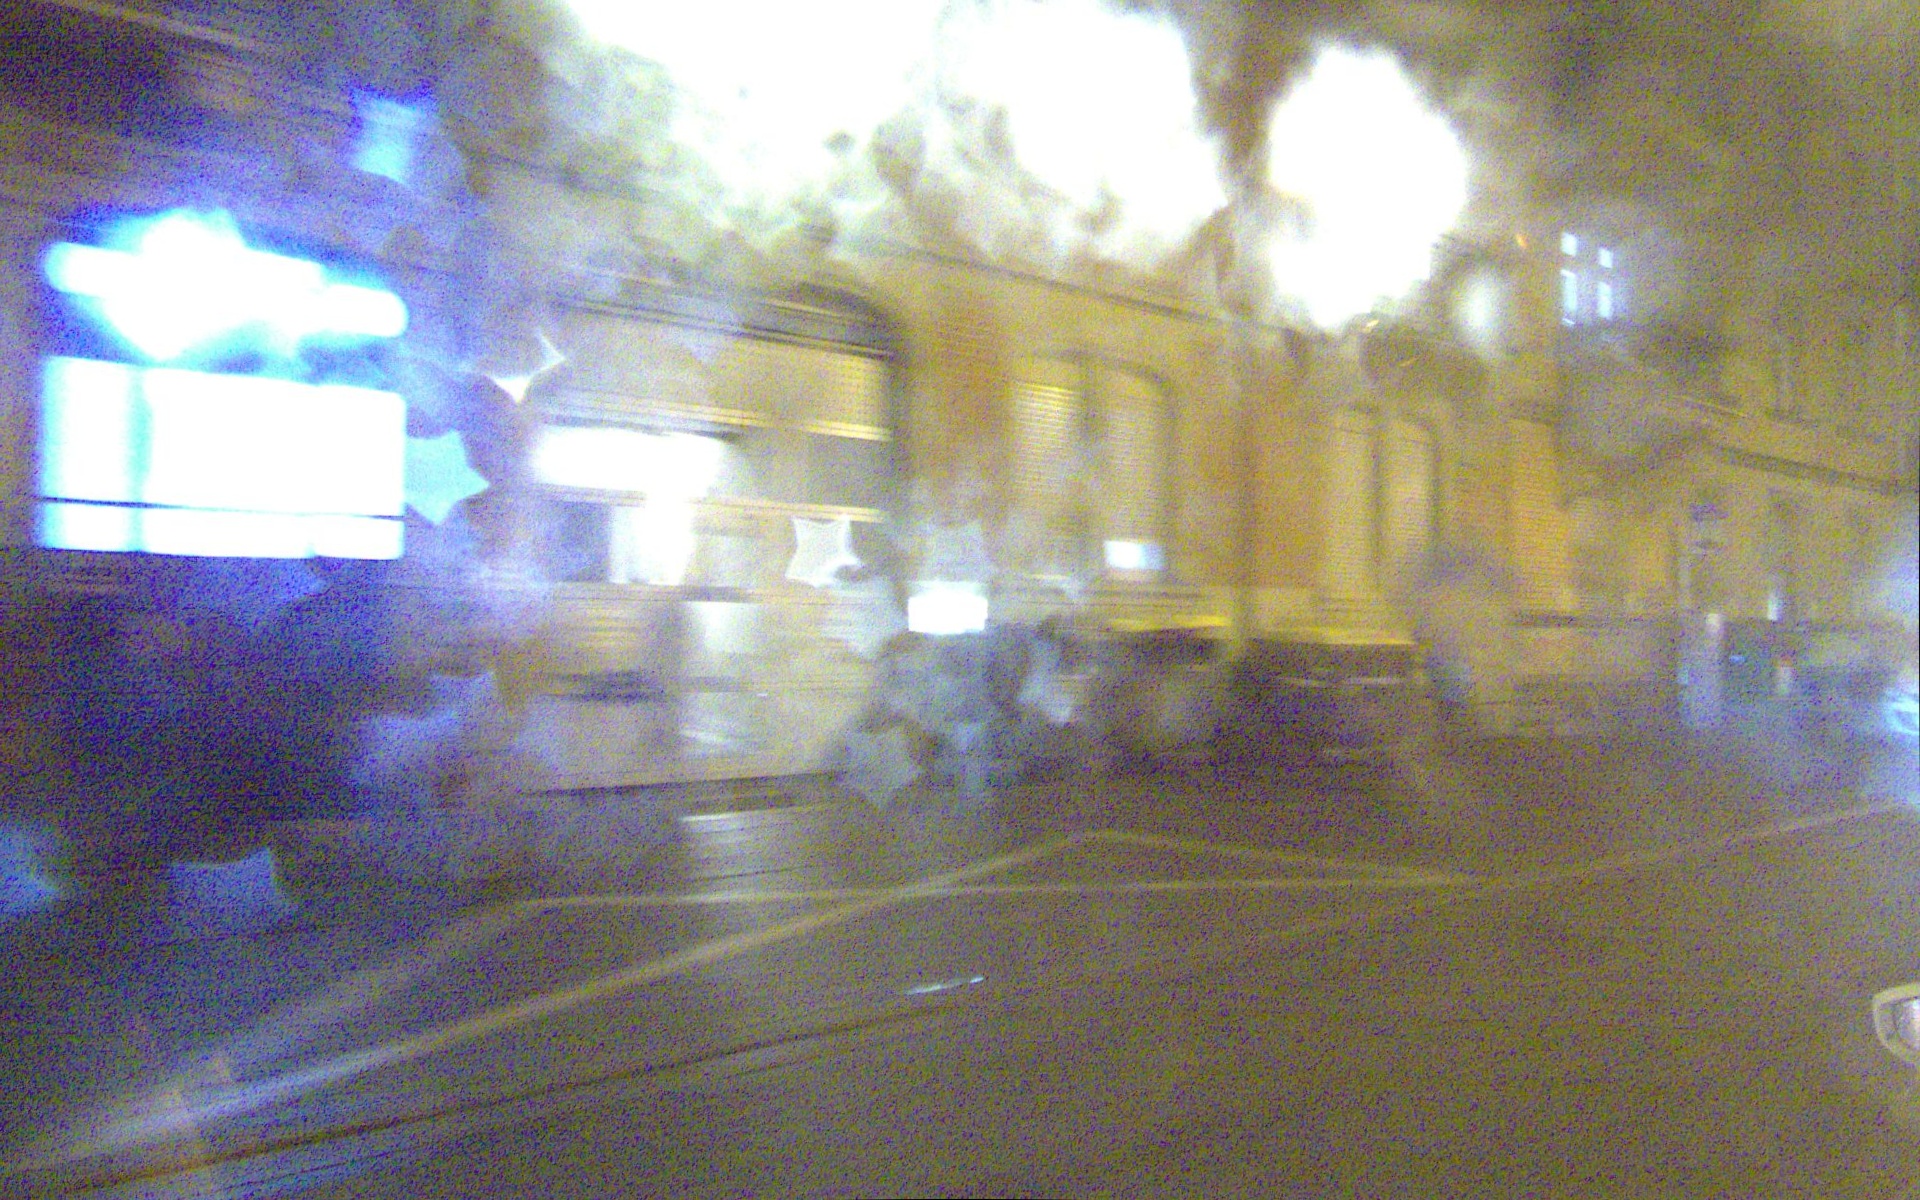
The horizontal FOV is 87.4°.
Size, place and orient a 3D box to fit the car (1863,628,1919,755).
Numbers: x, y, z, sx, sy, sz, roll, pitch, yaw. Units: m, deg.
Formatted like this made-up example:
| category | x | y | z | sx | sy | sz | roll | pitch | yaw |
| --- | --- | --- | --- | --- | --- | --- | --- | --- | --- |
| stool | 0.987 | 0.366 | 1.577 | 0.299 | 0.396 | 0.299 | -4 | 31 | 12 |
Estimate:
| category | x | y | z | sx | sy | sz | roll | pitch | yaw |
| --- | --- | --- | --- | --- | --- | --- | --- | --- | --- |
| car | 13.206 | 1.136 | 12.670 | 3.747 | 1.502 | 1.580 | 1 | -1 | -29 |

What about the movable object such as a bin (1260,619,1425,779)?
| category | x | y | z | sx | sy | sz | roll | pitch | yaw |
| --- | --- | --- | --- | --- | --- | --- | --- | --- | --- |
| movable object such as a bin | 3.712 | 0.917 | 9.787 | 1.119 | 1.417 | 0.971 | 1 | 1 | -27 |

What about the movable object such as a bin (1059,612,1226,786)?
| category | x | y | z | sx | sy | sz | roll | pitch | yaw |
| --- | --- | --- | --- | --- | --- | --- | --- | --- | --- |
| movable object such as a bin | 1.648 | 0.856 | 9.152 | 1.119 | 1.439 | 0.971 | 1 | 1 | -27 |

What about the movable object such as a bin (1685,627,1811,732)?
| category | x | y | z | sx | sy | sz | roll | pitch | yaw |
| --- | --- | --- | --- | --- | --- | --- | --- | --- | --- |
| movable object such as a bin | 11.533 | 1.138 | 14.713 | 1.143 | 1.417 | 1.043 | 1 | 1 | -27 |

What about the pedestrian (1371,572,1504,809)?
| category | x | y | z | sx | sy | sz | roll | pitch | yaw |
| --- | --- | --- | --- | --- | --- | --- | --- | --- | --- |
| pedestrian | 3.921 | 0.707 | 8.259 | 0.785 | 1.845 | 0.588 | 1 | 1 | -30 |

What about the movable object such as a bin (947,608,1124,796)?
| category | x | y | z | sx | sy | sz | roll | pitch | yaw |
| --- | --- | --- | --- | --- | --- | --- | --- | --- | --- |
| movable object such as a bin | 0.621 | 0.807 | 8.466 | 1.119 | 1.439 | 0.971 | 1 | 1 | -27 |
